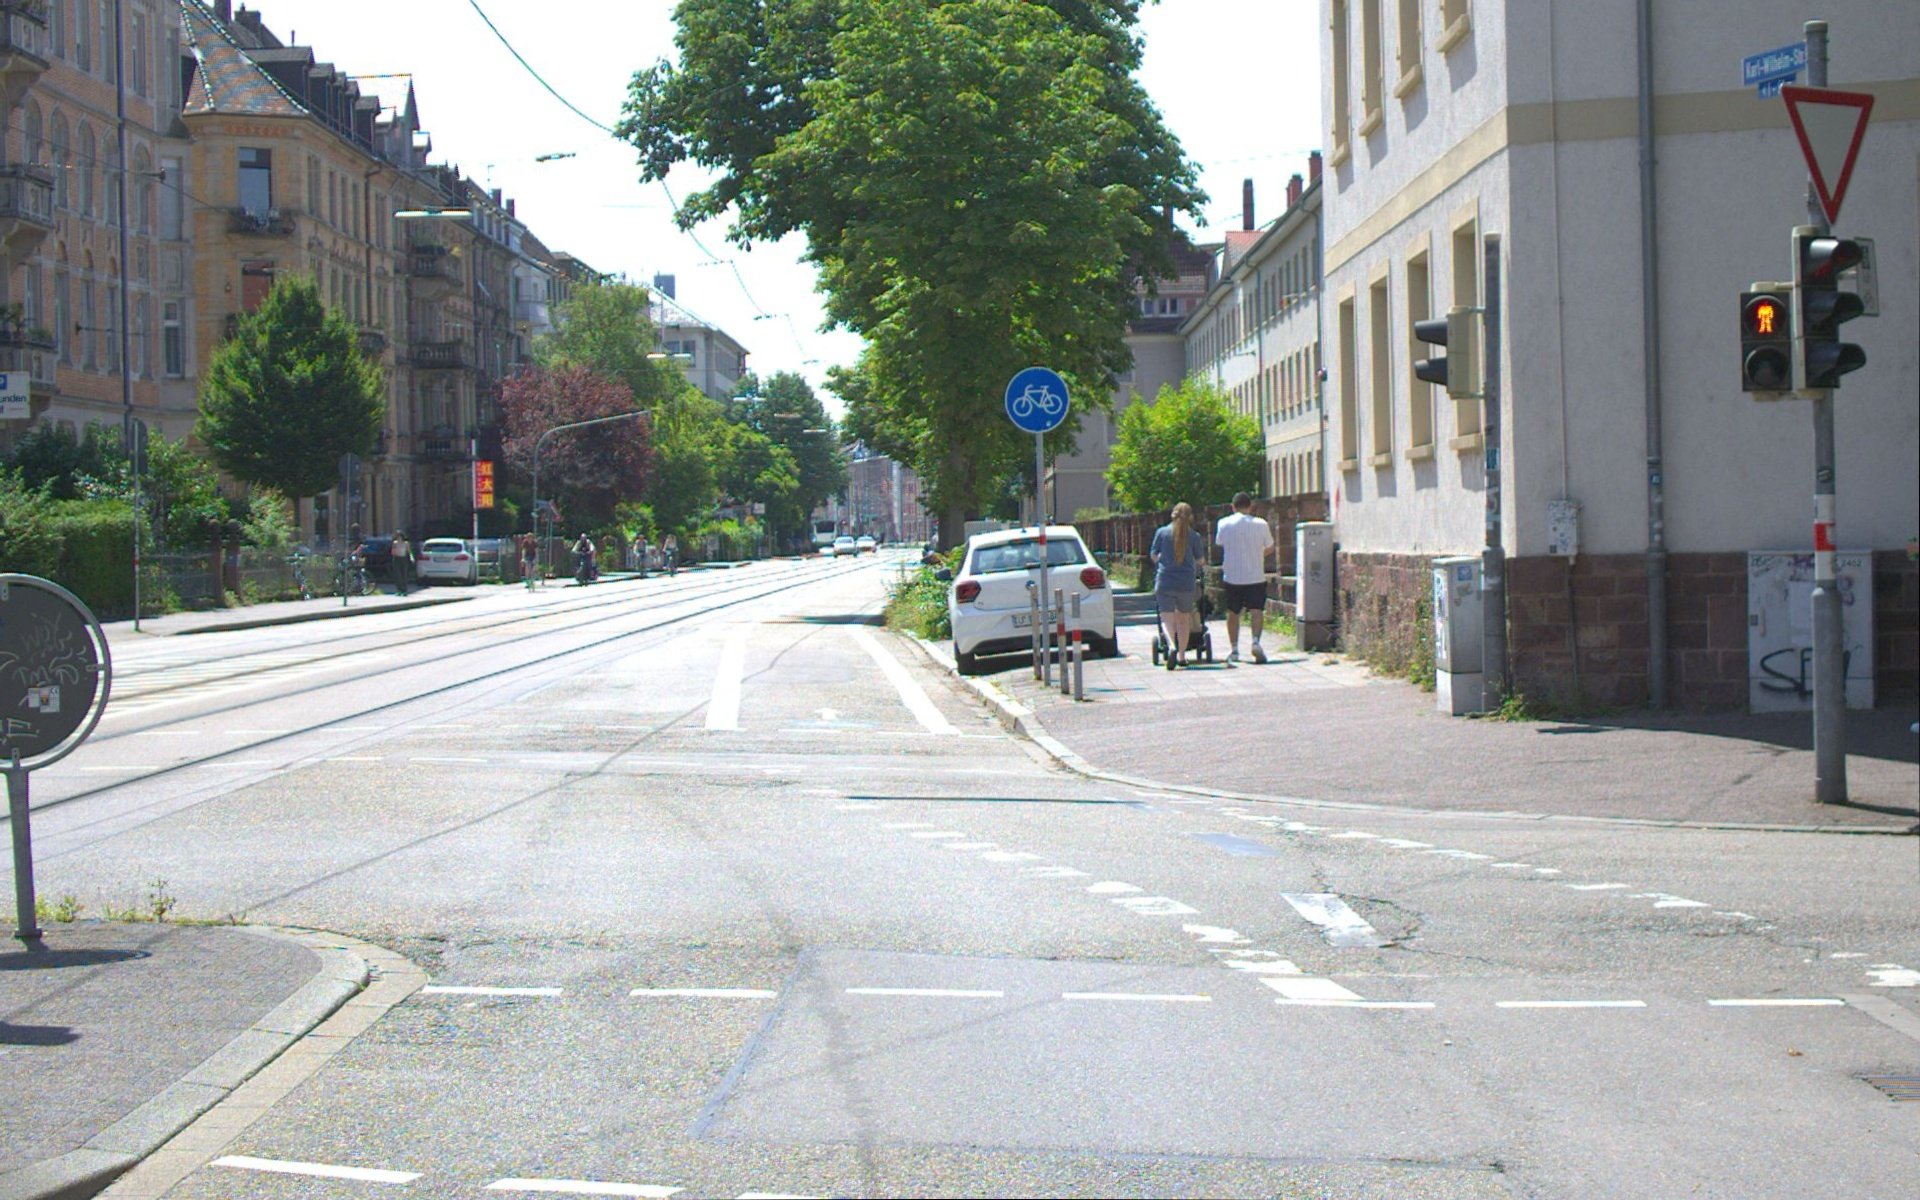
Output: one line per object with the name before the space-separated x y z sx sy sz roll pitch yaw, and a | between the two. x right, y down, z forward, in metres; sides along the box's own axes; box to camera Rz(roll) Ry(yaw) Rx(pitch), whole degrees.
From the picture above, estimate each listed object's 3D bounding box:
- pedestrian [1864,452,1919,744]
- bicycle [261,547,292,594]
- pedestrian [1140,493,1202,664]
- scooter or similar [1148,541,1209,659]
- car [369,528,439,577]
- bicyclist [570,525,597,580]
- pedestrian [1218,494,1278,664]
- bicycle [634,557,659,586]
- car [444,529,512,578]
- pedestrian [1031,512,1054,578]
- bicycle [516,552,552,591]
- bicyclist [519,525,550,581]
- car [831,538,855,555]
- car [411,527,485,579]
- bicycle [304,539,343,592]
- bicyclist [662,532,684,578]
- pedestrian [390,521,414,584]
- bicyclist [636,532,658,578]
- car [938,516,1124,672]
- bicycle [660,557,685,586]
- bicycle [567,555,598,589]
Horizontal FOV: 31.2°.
pedestrian | 6.063 -0.049 20.637 1.055 1.684 0.653 -5 4 19
bicycle | -15.906 -0.700 80.032 0.677 1.061 1.919 -1 1 -11
pedestrian | 2.056 -0.213 33.405 0.557 1.640 0.677 1 0 6
scooter or similar | 2.193 -0.005 34.362 0.557 1.151 1.205 1 0 5
car | -20.020 -1.698 123.909 1.919 1.709 4.000 1 1 -1
bicyclist | -12.355 -1.560 112.942 0.727 1.762 1.079 1 0 1
pedestrian | 2.822 -0.205 33.679 0.557 1.640 0.677 1 0 6
bicycle | -12.378 -1.135 135.775 0.727 1.119 2.085 1 1 1
car | -17.334 -1.660 123.836 1.919 1.709 4.000 1 1 -1
pedestrian | 1.984 -1.327 82.633 0.521 1.557 0.573 -1 1 -1
bicycle | -12.421 -0.844 100.348 0.727 1.119 2.085 1 1 1
bicyclist | -12.424 -1.369 100.350 0.727 1.623 1.079 1 0 1
car | -8.771 -4.014 258.293 1.706 1.273 4.000 1 1 -1
car | -17.191 -1.575 115.572 1.919 1.709 4.000 1 1 -1
bicycle | -15.663 -0.849 84.675 0.677 1.274 1.919 -1 1 -3
bicyclist | -11.337 -1.762 135.749 0.727 1.812 1.079 1 0 1
pedestrian | -14.713 -1.251 90.678 0.521 1.653 0.529 -1 1 -1
bicyclist | -12.365 -1.787 135.800 0.727 1.812 1.079 1 0 1
car | 0.718 -0.083 37.317 1.815 1.511 4.000 -3 1 -1
bicycle | -11.346 -1.135 135.707 0.727 1.119 2.085 1 1 1
bicycle | -12.378 -0.919 112.899 0.727 1.119 2.085 1 1 1
